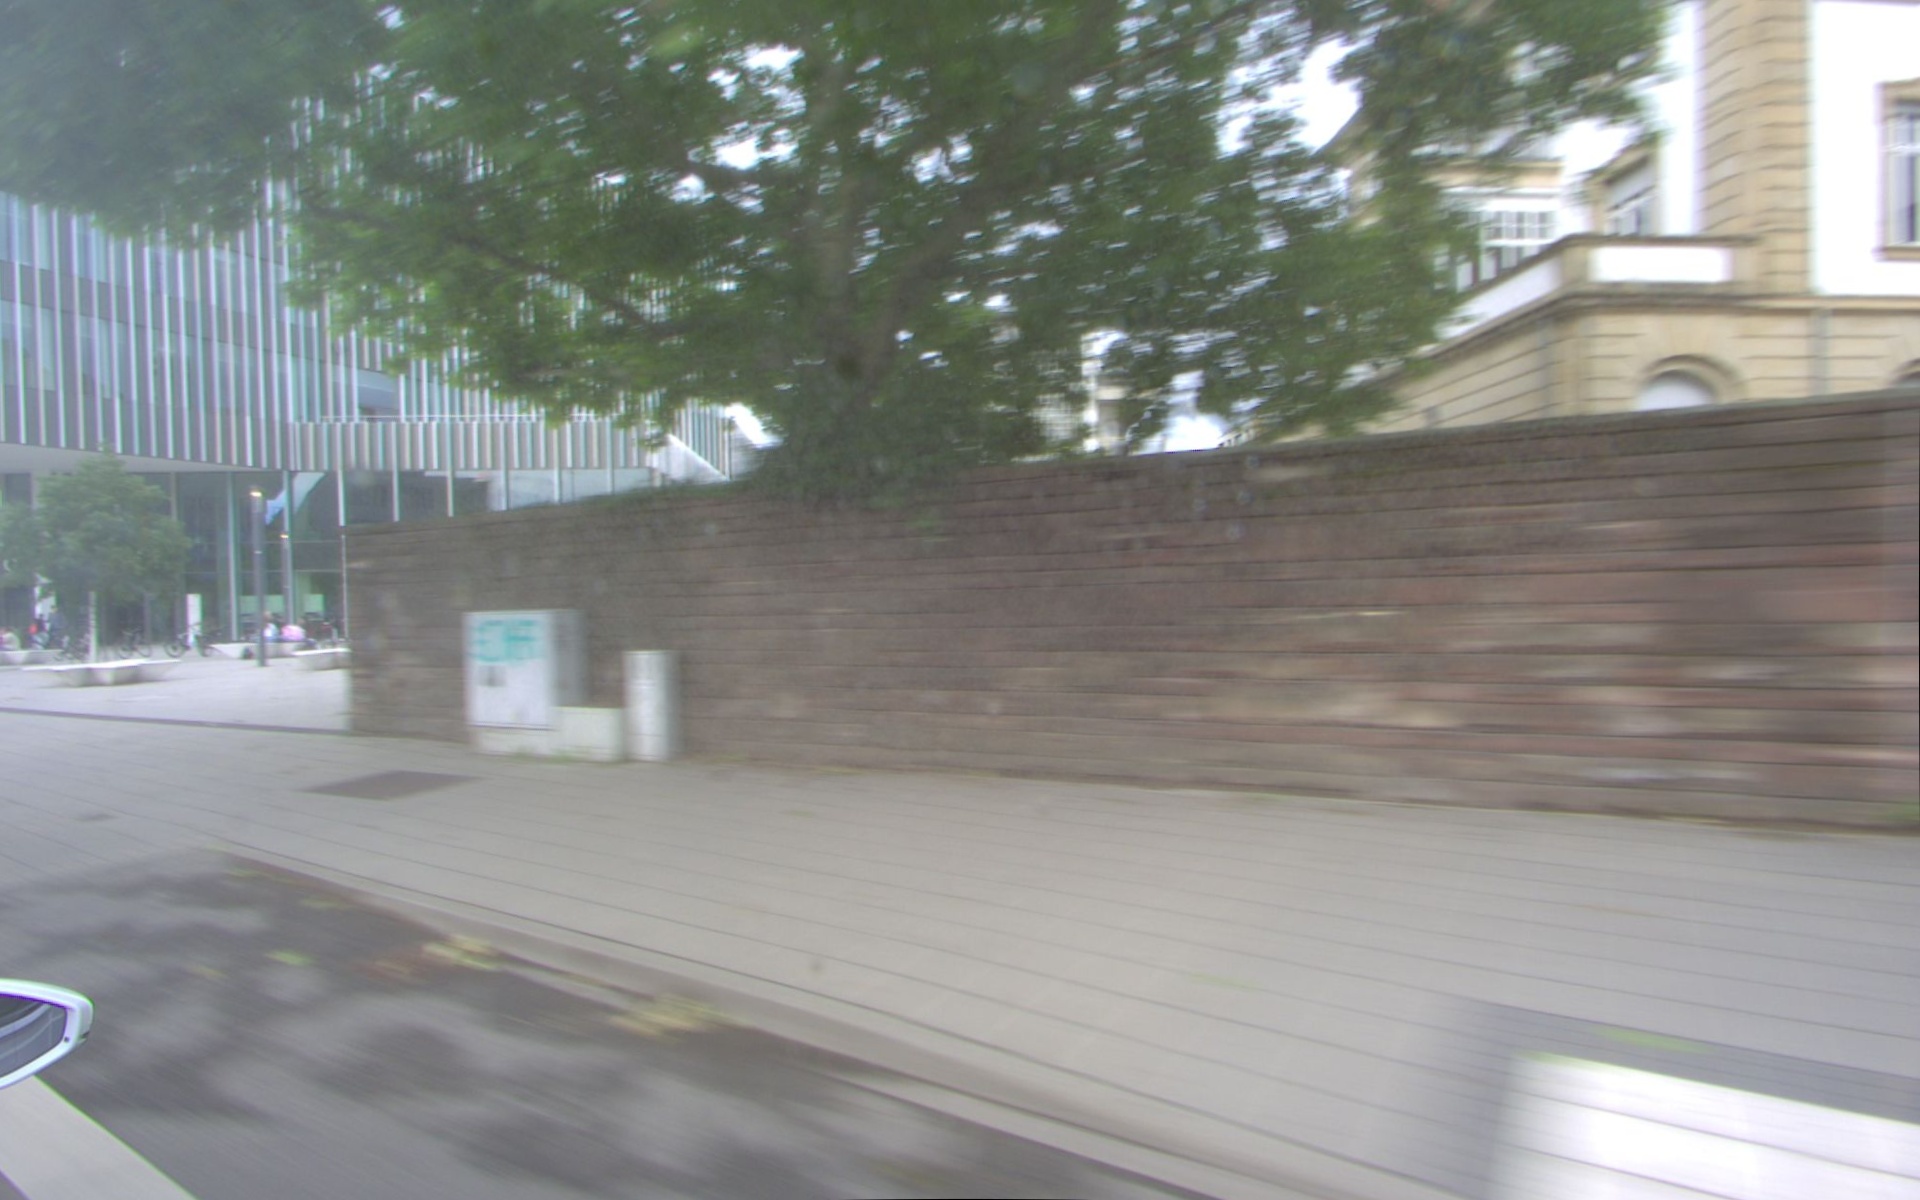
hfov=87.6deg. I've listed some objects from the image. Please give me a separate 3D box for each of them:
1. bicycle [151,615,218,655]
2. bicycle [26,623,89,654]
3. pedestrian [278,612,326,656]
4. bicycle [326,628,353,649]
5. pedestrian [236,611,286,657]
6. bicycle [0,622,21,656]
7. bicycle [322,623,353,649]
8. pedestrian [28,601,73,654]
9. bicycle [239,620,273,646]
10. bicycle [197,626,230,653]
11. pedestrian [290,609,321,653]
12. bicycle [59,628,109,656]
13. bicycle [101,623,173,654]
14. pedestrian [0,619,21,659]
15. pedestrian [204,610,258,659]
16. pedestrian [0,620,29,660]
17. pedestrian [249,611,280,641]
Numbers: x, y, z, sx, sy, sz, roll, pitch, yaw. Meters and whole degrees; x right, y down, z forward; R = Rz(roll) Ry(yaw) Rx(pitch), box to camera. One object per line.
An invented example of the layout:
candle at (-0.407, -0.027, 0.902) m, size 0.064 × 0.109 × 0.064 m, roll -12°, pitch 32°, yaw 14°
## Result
bicycle at (-28.019, 1.230, 36.233) m, size 0.633 × 1.324 × 2.007 m, roll 0°, pitch 2°, yaw 8°
bicycle at (-32.304, 1.360, 35.877) m, size 0.760 × 1.015 × 1.958 m, roll -1°, pitch 0°, yaw -12°
pedestrian at (-19.453, 1.003, 29.602) m, size 0.866 × 1.273 × 0.907 m, roll -1°, pitch -1°, yaw 33°
bicycle at (-23.068, 1.414, 37.237) m, size 0.482 × 0.701 × 1.184 m, roll -1°, pitch 2°, yaw -14°
pedestrian at (-19.921, 0.969, 28.537) m, size 0.866 × 1.273 × 0.907 m, roll -1°, pitch -1°, yaw 33°
bicycle at (-34.724, 1.409, 35.486) m, size 0.760 × 1.203 × 2.717 m, roll -1°, pitch 0°, yaw -12°
bicycle at (-23.054, 1.328, 37.096) m, size 0.500 × 0.911 × 1.549 m, roll -1°, pitch 0°, yaw -14°
pedestrian at (-36.897, 1.109, 40.633) m, size 1.121 × 2.089 × 1.177 m, roll -1°, pitch -1°, yaw 39°
bicycle at (-25.243, 1.172, 35.910) m, size 0.532 × 0.911 × 1.355 m, roll -1°, pitch 0°, yaw -14°
bicycle at (-26.888, 1.412, 36.082) m, size 0.387 × 0.911 × 1.471 m, roll -1°, pitch 0°, yaw -14°
pedestrian at (-19.557, 0.934, 29.939) m, size 0.638 × 1.295 × 0.642 m, roll -1°, pitch -1°, yaw 43°
bicycle at (-31.446, 1.500, 35.963) m, size 0.660 × 0.911 × 1.841 m, roll -1°, pitch 0°, yaw -19°
bicycle at (-29.586, 1.373, 36.047) m, size 0.766 × 1.019 × 2.192 m, roll -1°, pitch 0°, yaw 0°
pedestrian at (-29.590, 1.204, 30.750) m, size 0.832 × 1.222 × 0.891 m, roll -1°, pitch 1°, yaw -26°
pedestrian at (-20.961, 0.979, 28.799) m, size 0.863 × 1.385 × 0.910 m, roll 0°, pitch -1°, yaw 20°
pedestrian at (-29.877, 1.254, 31.437) m, size 0.836 × 1.209 × 0.886 m, roll -1°, pitch 1°, yaw 44°
pedestrian at (-20.643, 0.773, 29.709) m, size 0.630 × 0.834 × 0.726 m, roll -2°, pitch 1°, yaw -45°
